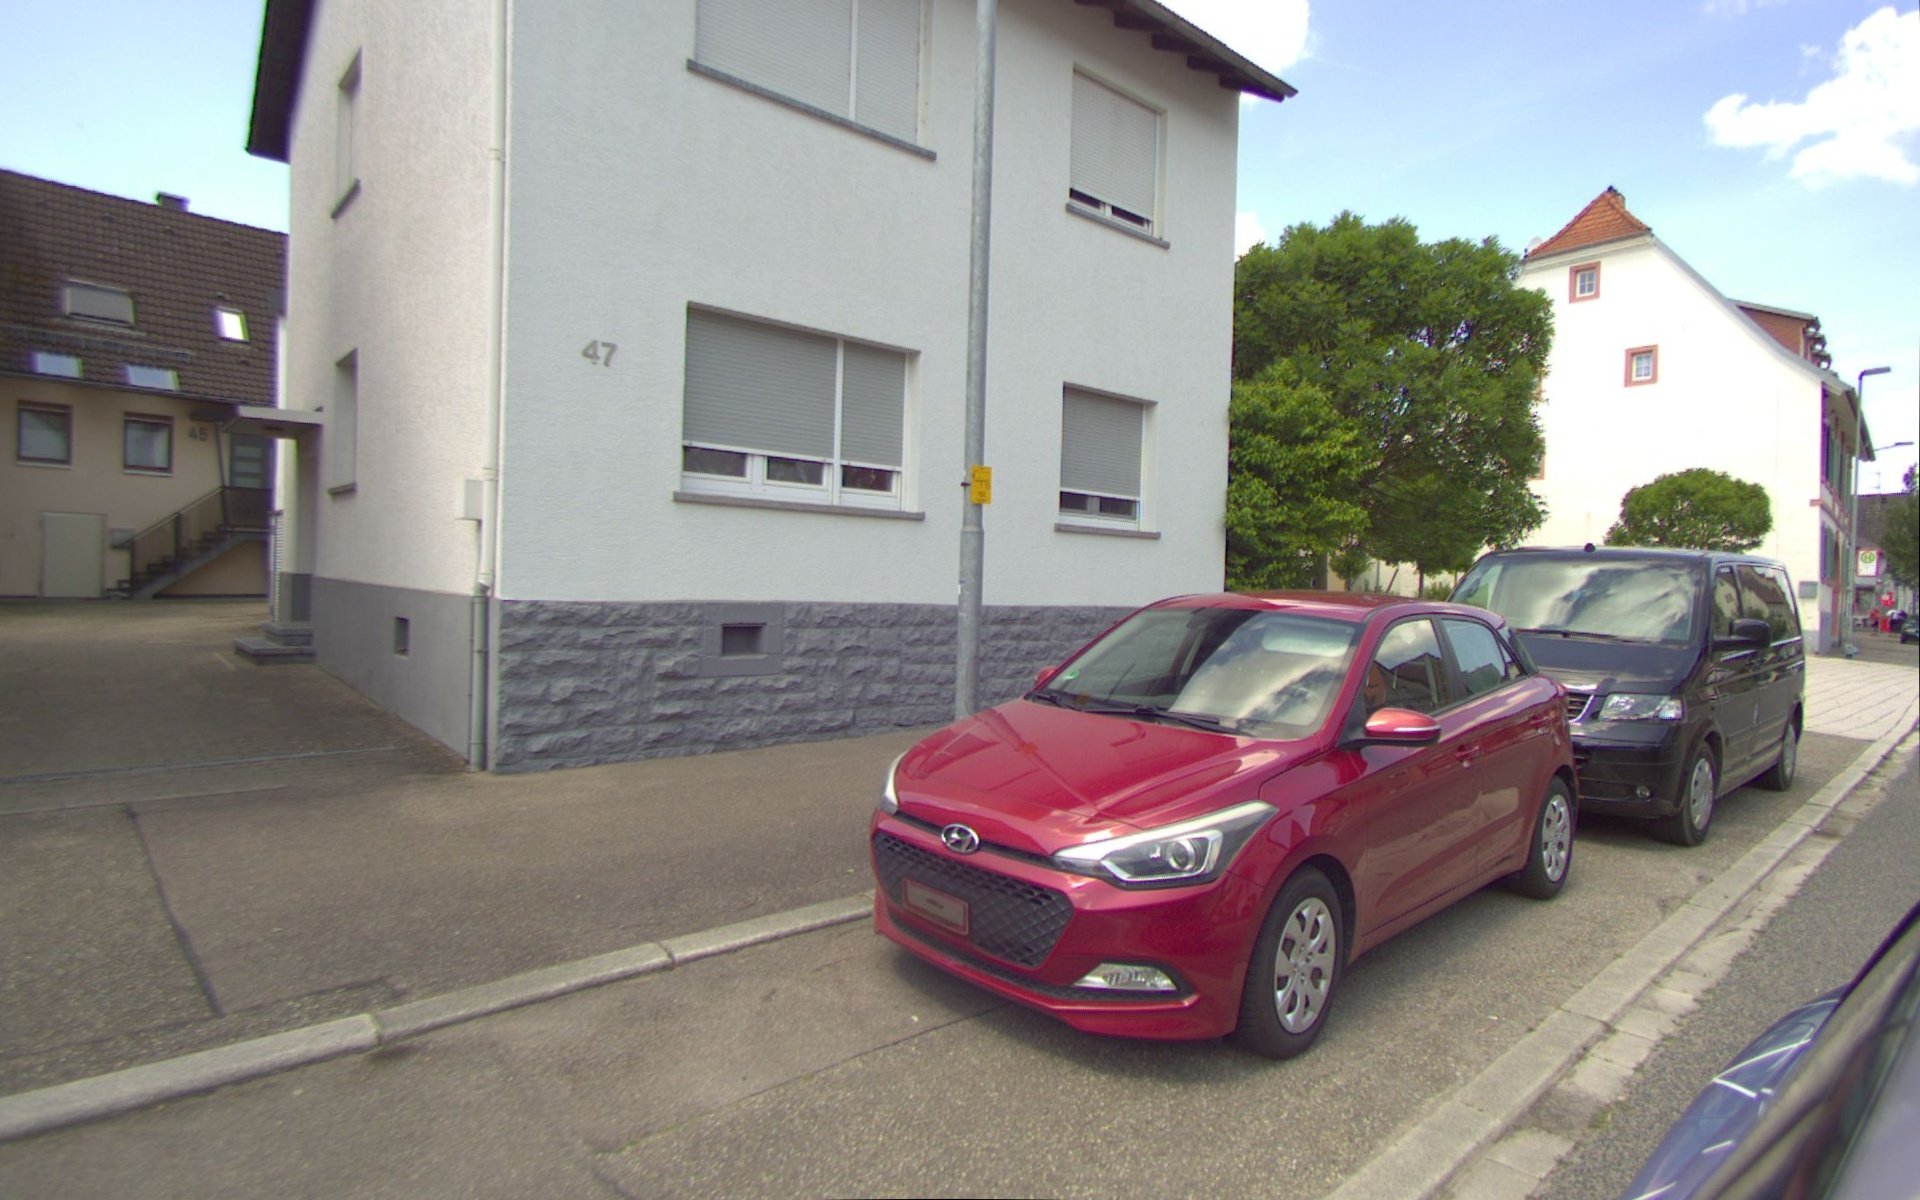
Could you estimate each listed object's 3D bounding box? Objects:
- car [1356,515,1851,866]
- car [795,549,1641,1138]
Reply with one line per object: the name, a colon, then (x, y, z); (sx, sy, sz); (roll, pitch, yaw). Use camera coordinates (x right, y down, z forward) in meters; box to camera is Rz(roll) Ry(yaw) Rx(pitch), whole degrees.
car: (5.332, 0.469, 8.020); (5.154, 1.939, 1.929); (-1, 0, -41)
car: (1.597, 0.626, 4.797); (4.481, 1.522, 1.741); (1, 1, -43)
